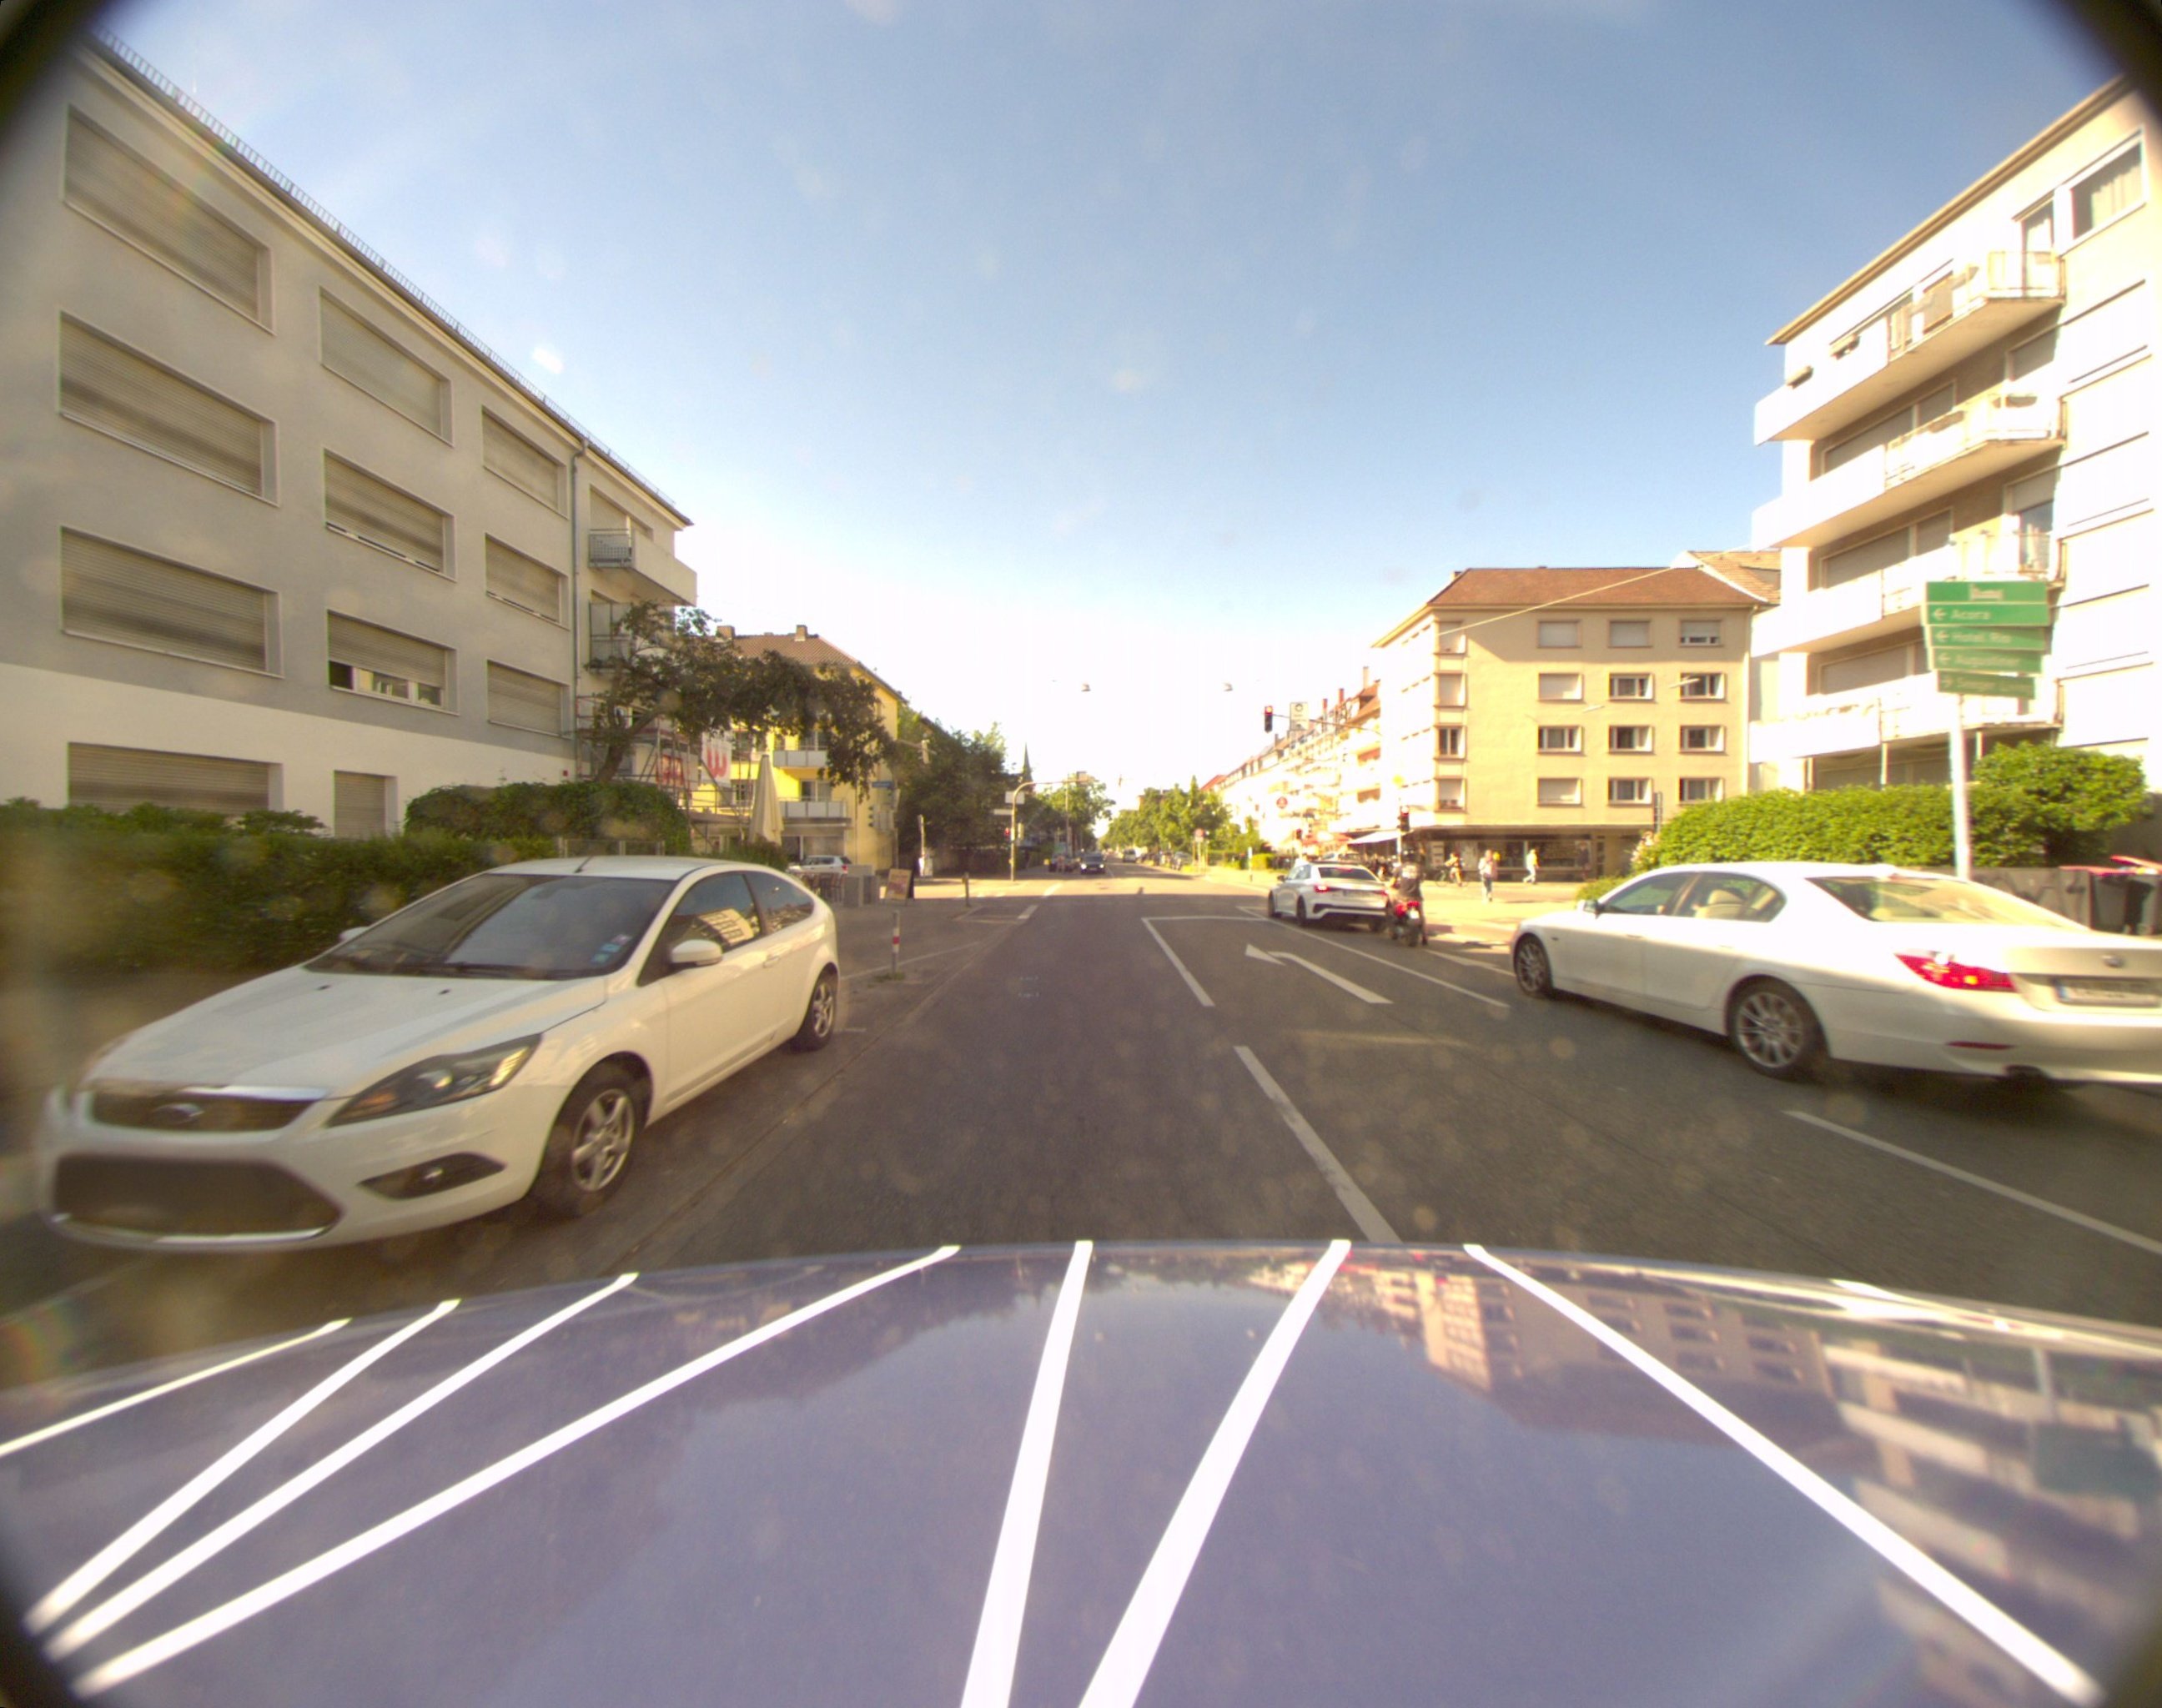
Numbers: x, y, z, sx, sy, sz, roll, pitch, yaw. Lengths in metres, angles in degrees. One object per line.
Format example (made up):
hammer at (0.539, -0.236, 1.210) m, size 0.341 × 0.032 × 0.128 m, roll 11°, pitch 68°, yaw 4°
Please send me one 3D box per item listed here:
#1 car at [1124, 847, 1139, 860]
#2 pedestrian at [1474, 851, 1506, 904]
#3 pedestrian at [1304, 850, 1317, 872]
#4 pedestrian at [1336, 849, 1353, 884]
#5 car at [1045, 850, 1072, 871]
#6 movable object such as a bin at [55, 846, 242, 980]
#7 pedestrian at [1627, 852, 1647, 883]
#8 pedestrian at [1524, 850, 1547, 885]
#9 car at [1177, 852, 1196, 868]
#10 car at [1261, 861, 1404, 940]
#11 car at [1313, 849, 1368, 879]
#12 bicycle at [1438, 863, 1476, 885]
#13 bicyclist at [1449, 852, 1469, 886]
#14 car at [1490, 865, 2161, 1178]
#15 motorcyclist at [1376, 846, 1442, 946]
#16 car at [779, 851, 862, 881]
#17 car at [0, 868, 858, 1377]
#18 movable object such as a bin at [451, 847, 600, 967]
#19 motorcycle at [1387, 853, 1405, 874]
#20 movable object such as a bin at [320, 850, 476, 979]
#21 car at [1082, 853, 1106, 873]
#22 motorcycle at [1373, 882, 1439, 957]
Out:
car at (7.544, -0.064, 113.554) m, size 1.965 × 1.911 × 5.496 m, roll 0°, pitch 0°, yaw 2°
pedestrian at (12.990, 0.725, 24.130) m, size 0.659 × 1.649 × 0.682 m, roll 0°, pitch 1°, yaw 2°
pedestrian at (15.830, 0.500, 52.518) m, size 0.643 × 1.502 × 0.535 m, roll -4°, pitch 1°, yaw -1°
pedestrian at (13.266, 0.614, 38.267) m, size 0.671 × 1.709 × 0.584 m, roll 0°, pitch 2°, yaw 11°
car at (-1.694, 0.462, 58.945) m, size 1.822 × 1.542 × 4.304 m, roll 0°, pitch 0°, yaw 2°
movable object such as a bin at (-10.846, 0.659, 8.884) m, size 1.090 × 1.482 × 0.842 m, roll 1°, pitch 1°, yaw -8°
pedestrian at (29.380, 0.694, 40.179) m, size 0.564 × 1.636 × 0.727 m, roll -1°, pitch 1°, yaw -40°
pedestrian at (22.745, 0.650, 38.053) m, size 0.728 × 1.725 × 0.683 m, roll 0°, pitch 2°, yaw -1°
car at (9.244, 0.499, 66.460) m, size 1.322 × 1.348 × 3.093 m, roll 0°, pitch 0°, yaw 2°
car at (5.437, 0.932, 17.089) m, size 1.702 × 1.398 × 4.506 m, roll 2°, pitch 0°, yaw 0°
car at (14.619, 0.520, 43.101) m, size 1.764 × 1.613 × 4.304 m, roll 0°, pitch 0°, yaw 2°
bicycle at (17.988, 0.948, 36.351) m, size 1.565 × 1.070 × 0.449 m, roll 0°, pitch 1°, yaw -1°
bicyclist at (18.082, 0.704, 36.356) m, size 0.685 × 1.598 × 0.578 m, roll 0°, pitch 1°, yaw -1°
car at (5.527, 0.899, 6.233) m, size 1.818 × 1.456 × 4.778 m, roll 2°, pitch 1°, yaw 2°
motorcyclist at (5.661, 0.705, 13.168) m, size 0.730 × 1.637 × 0.918 m, roll 3°, pitch 1°, yaw 6°
car at (-13.019, 0.602, 38.040) m, size 3.644 × 1.473 × 1.481 m, roll 0°, pitch 1°, yaw 1°
car at (-2.881, 0.897, 4.528) m, size 1.743 × 1.473 × 4.196 m, roll 1°, pitch 1°, yaw 2°
movable object such as a bin at (-6.621, 0.610, 9.127) m, size 1.142 × 1.347 × 0.842 m, roll 2°, pitch 0°, yaw -8°
motorcycle at (20.618, 0.631, 49.750) m, size 0.570 × 1.360 × 1.763 m, roll 0°, pitch 0°, yaw 3°
movable object such as a bin at (-8.105, 0.694, 9.071) m, size 1.090 × 1.465 × 0.842 m, roll 1°, pitch 1°, yaw -8°
car at (0.977, 0.600, 54.661) m, size 1.654 × 1.348 × 4.304 m, roll 0°, pitch 0°, yaw 2°
motorcycle at (5.621, 1.088, 13.241) m, size 0.449 × 1.115 × 1.933 m, roll 3°, pitch 1°, yaw 5°
